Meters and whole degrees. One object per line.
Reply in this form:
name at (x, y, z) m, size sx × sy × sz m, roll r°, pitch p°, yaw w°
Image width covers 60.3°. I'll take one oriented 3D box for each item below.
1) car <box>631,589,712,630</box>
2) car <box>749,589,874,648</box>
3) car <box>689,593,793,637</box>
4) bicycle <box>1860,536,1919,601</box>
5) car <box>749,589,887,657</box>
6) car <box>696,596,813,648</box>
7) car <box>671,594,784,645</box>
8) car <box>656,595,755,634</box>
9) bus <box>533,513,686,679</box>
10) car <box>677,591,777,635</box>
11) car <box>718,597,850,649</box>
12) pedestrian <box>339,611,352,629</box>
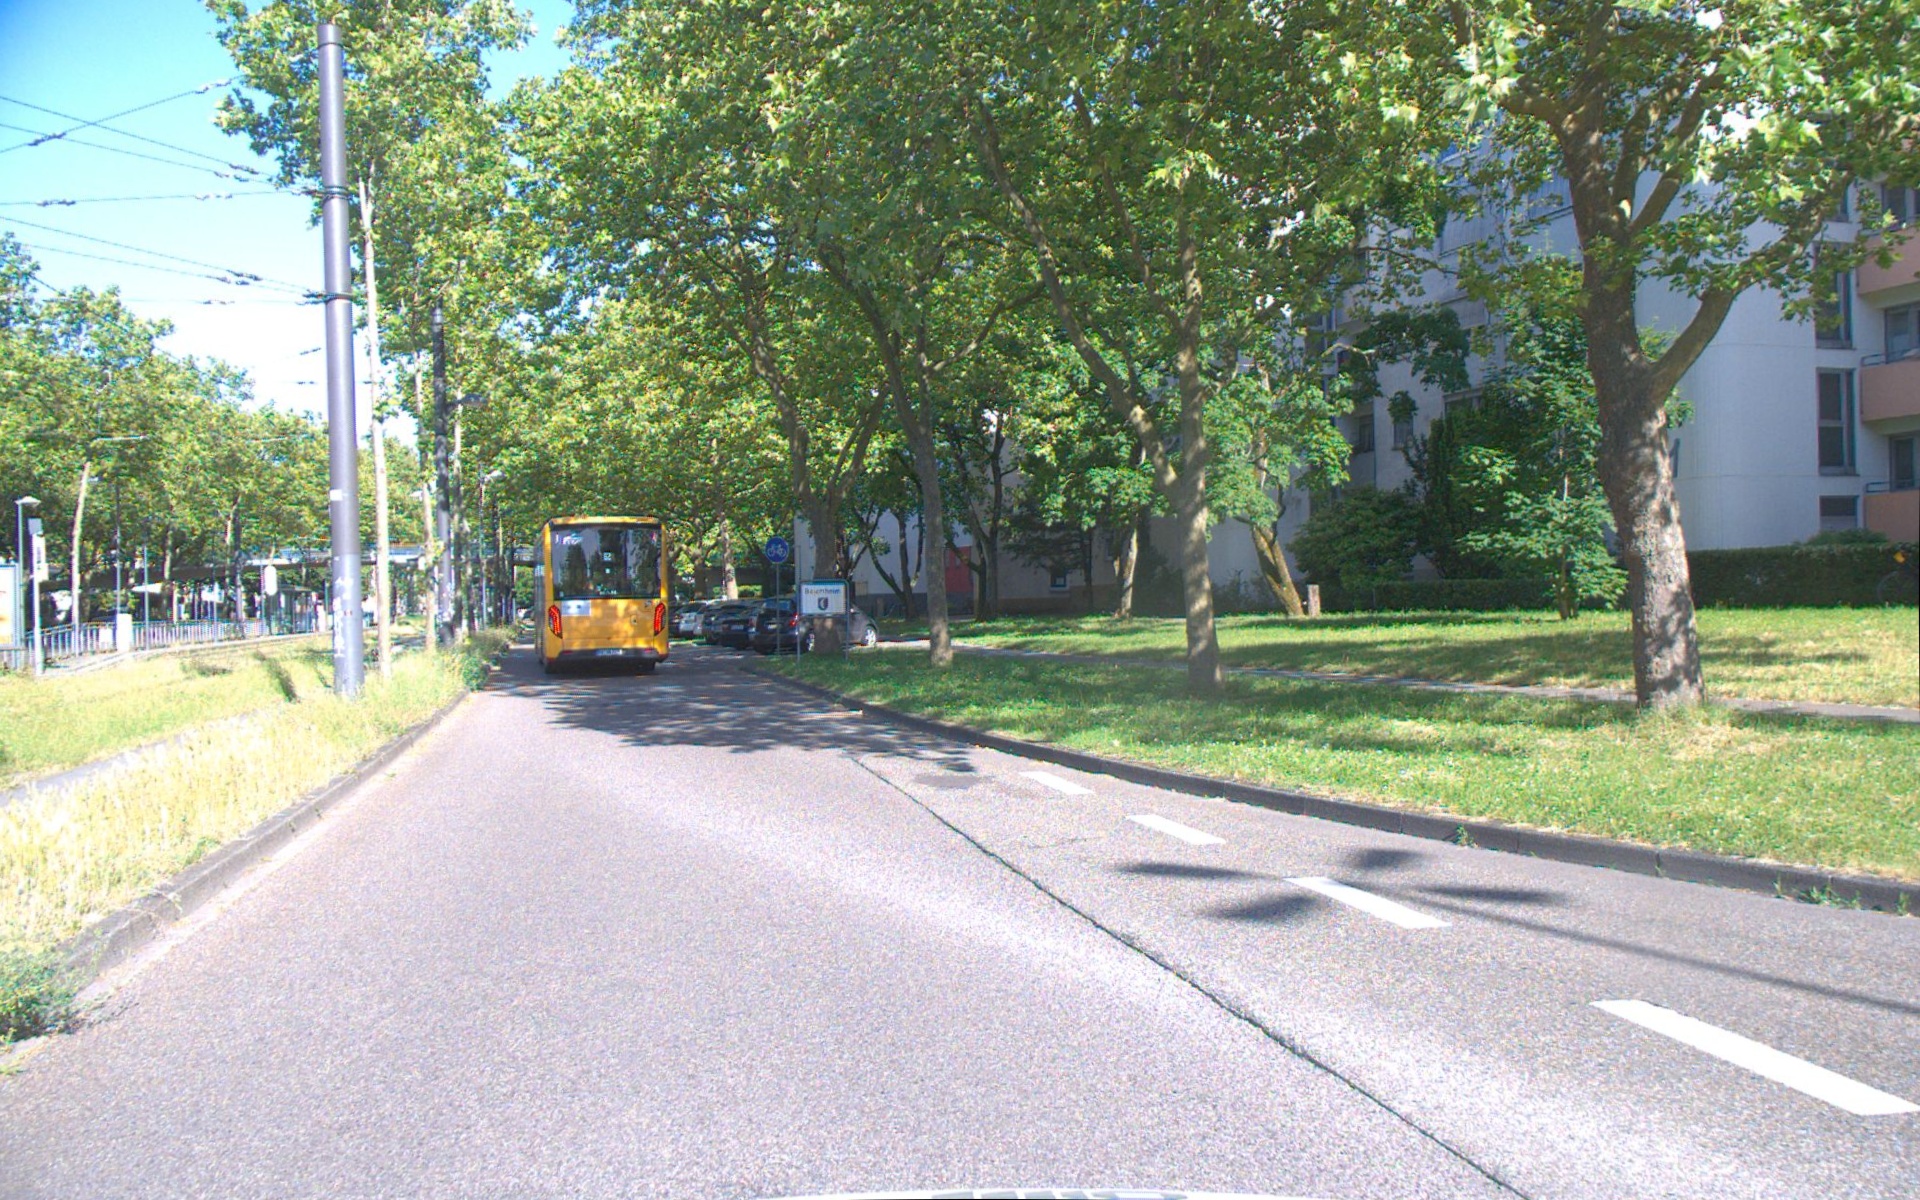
car at (-16.904, 0.526, 97.181) m, size 1.977 × 2.088 × 4.575 m, roll -3°, pitch 1°, yaw 35°
car at (-4.313, 0.528, 48.343) m, size 1.762 × 1.518 × 3.574 m, roll -2°, pitch 1°, yaw 33°
car at (-8.461, 0.573, 64.261) m, size 1.763 × 1.469 × 3.988 m, roll -2°, pitch 1°, yaw 34°
bicycle at (17.144, -0.567, 29.689) m, size 0.492 × 1.126 × 1.789 m, roll -7°, pitch 2°, yaw -20°
car at (-3.832, 0.601, 45.133) m, size 1.763 × 1.620 × 3.715 m, roll -2°, pitch 1°, yaw 34°
car at (-6.765, 0.706, 54.809) m, size 1.761 × 1.471 × 3.880 m, roll -3°, pitch 1°, yaw 31°
car at (-8.107, 0.658, 58.062) m, size 1.760 × 1.536 × 4.172 m, roll -3°, pitch 1°, yaw 28°
car at (-11.075, 0.629, 72.237) m, size 1.761 × 1.447 × 4.582 m, roll -3°, pitch 1°, yaw 30°
bus at (-8.636, -0.059, 39.535) m, size 2.852 × 3.324 × 12.166 m, roll -1°, pitch 0°, yaw -15°
car at (-9.520, 0.519, 67.880) m, size 1.763 × 1.603 × 3.987 m, roll -2°, pitch 1°, yaw 35°
car at (-5.394, 0.686, 51.217) m, size 1.763 × 1.341 × 4.134 m, roll -2°, pitch 1°, yaw 35°
pedestrian at (-43.449, 1.391, 116.948) m, size 0.765 × 1.259 × 0.719 m, roll -1°, pitch 0°, yaw -16°
